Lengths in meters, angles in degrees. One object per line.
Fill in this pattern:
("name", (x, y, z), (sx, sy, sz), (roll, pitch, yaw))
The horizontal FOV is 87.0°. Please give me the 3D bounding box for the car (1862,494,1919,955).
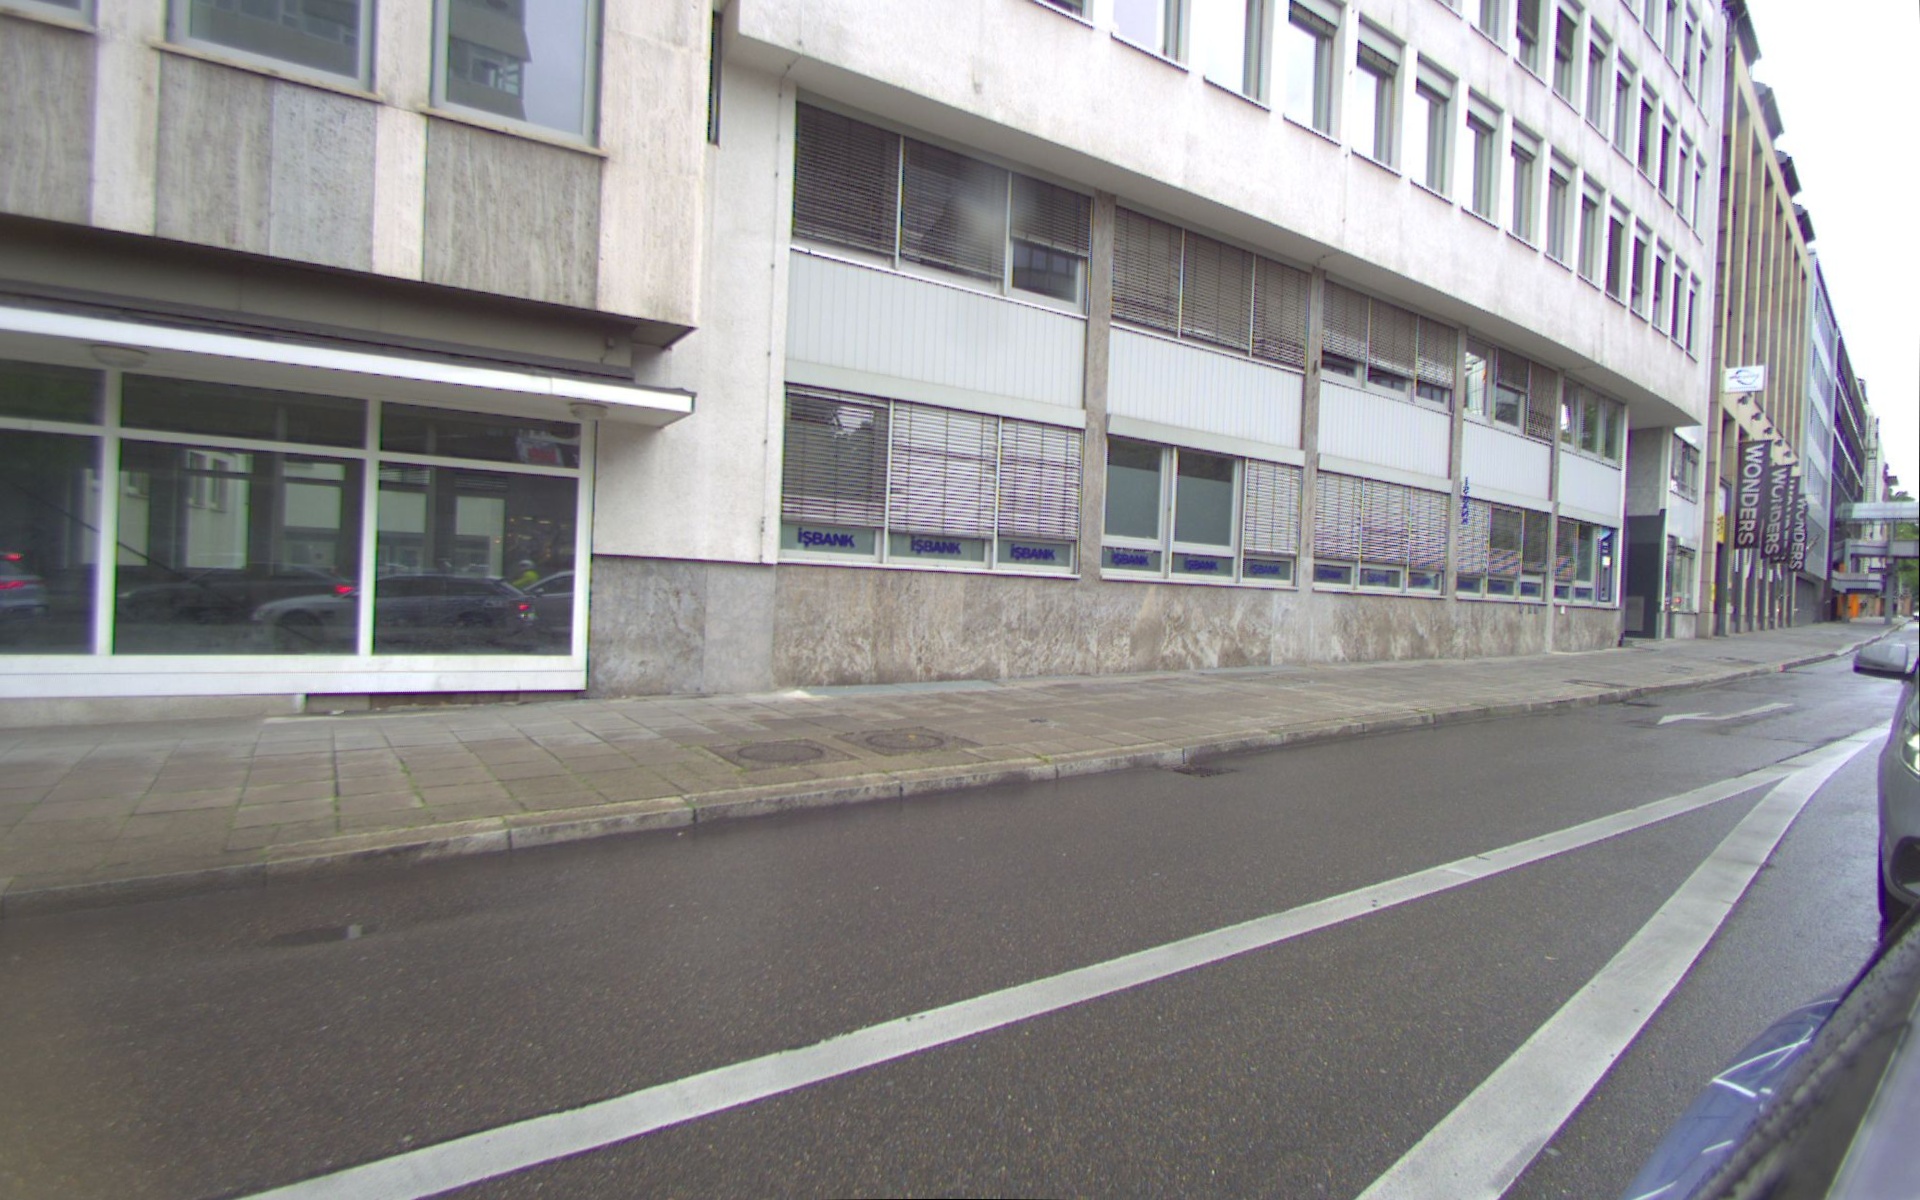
("car", (6.254, 0.520, 5.197), (4.940, 1.879, 1.914), (0, 0, -42))
